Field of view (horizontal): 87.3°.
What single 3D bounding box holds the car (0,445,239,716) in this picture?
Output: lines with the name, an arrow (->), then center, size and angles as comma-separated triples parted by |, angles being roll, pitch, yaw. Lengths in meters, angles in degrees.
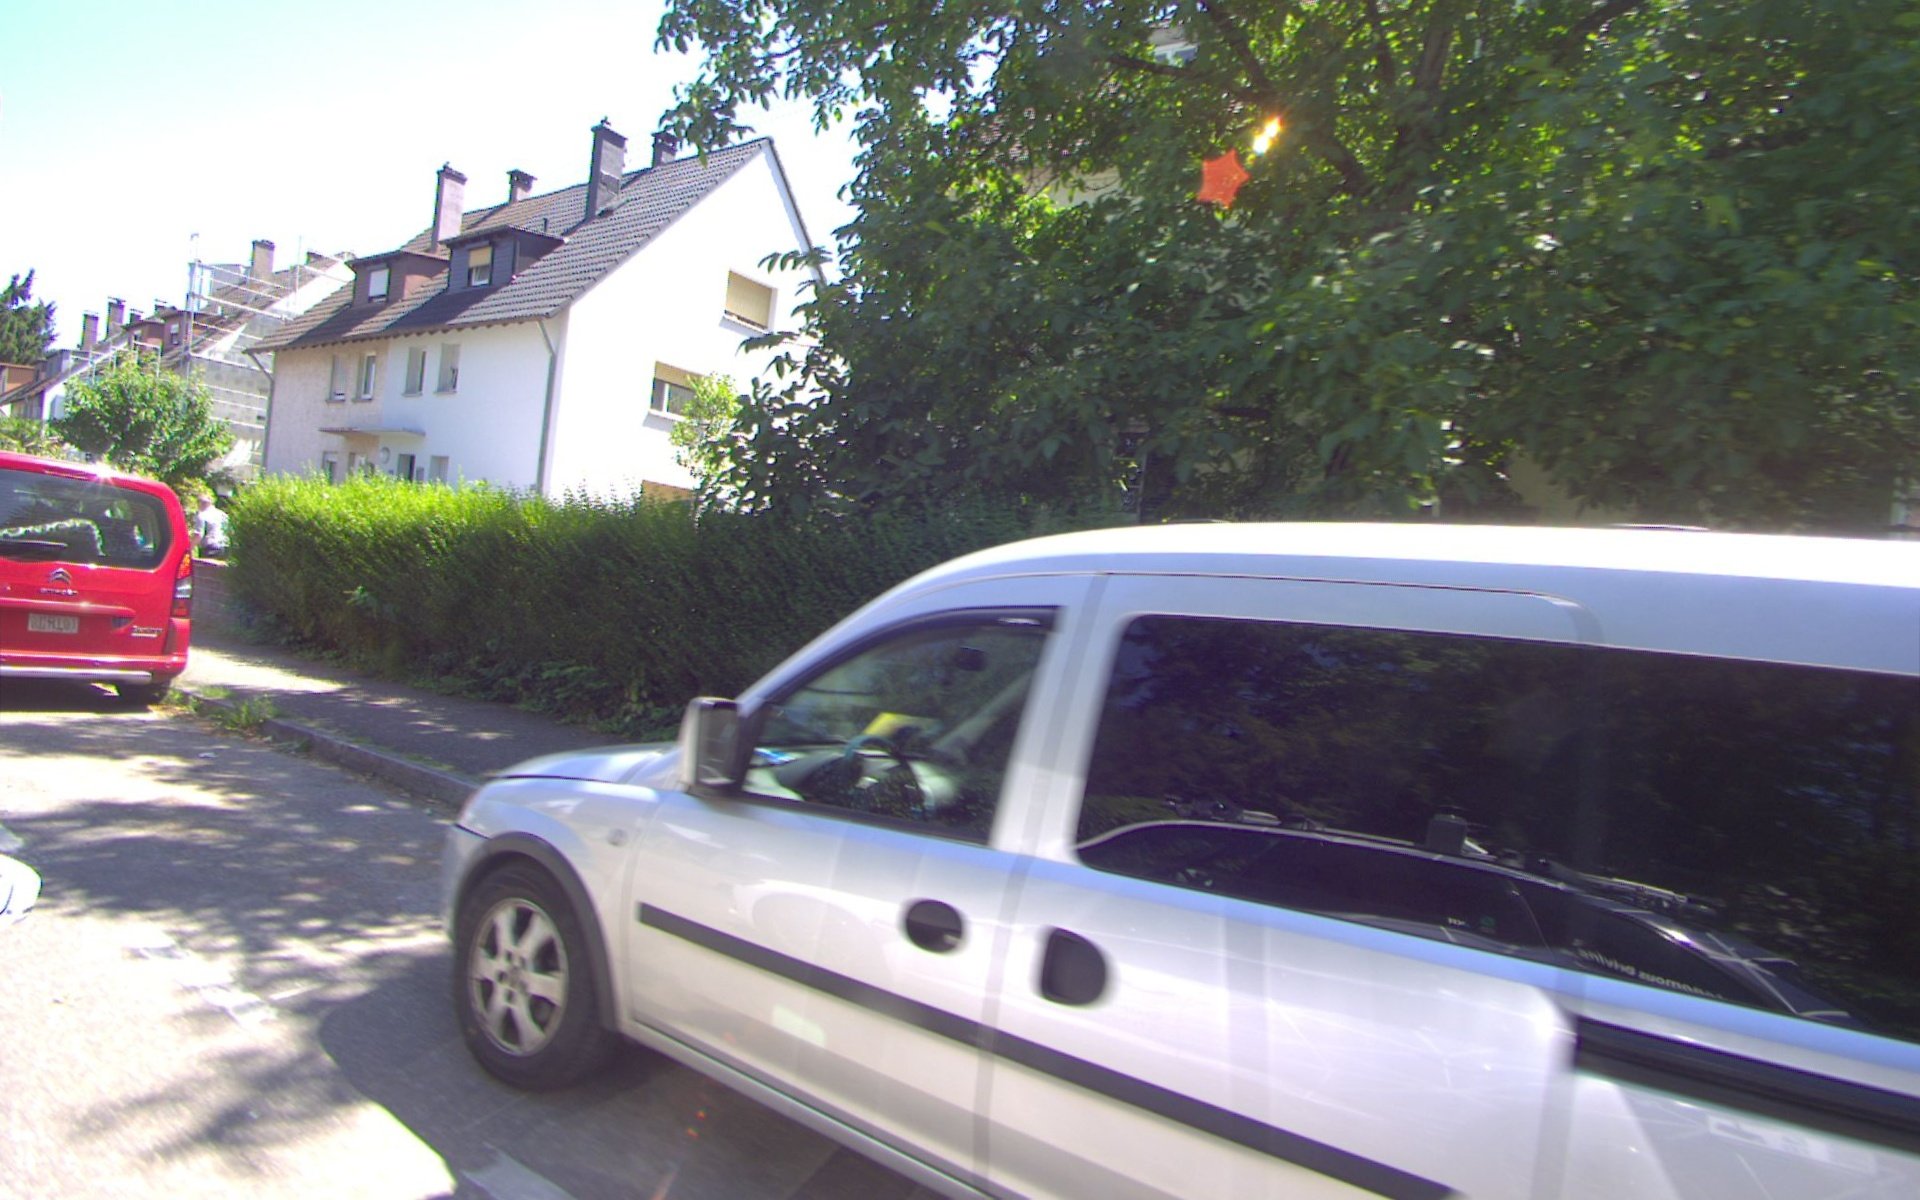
car -> -7.890, -0.292, 8.010 | 4.320, 1.748, 1.906 | 6, -2, 33

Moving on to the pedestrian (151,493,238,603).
pedestrian -> -11.424, -0.761, 15.017 | 0.697, 1.537, 0.788 | 7, 3, 33

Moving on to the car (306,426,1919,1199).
car -> 0.345, 0.643, 2.793 | 4.468, 1.803, 1.749 | 7, -2, 32
